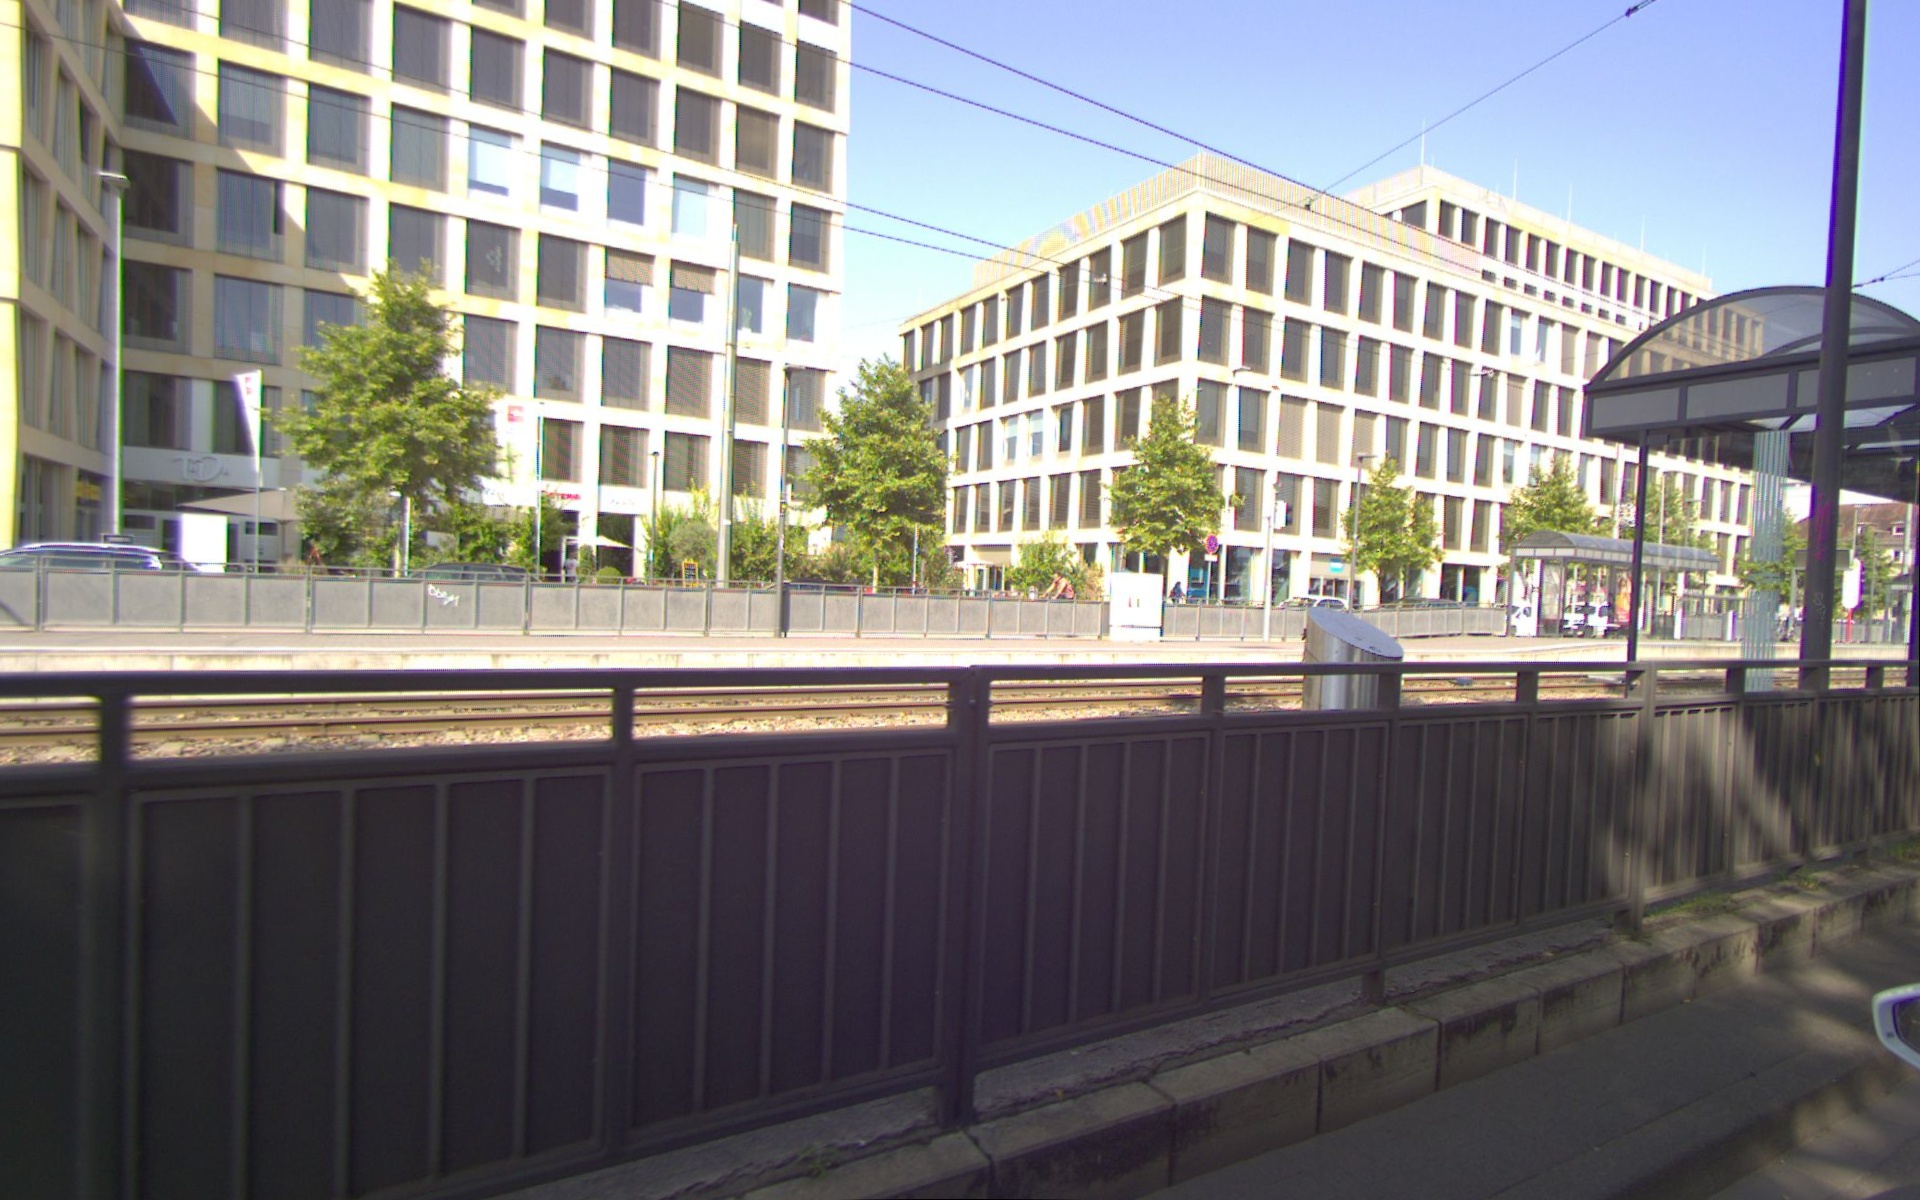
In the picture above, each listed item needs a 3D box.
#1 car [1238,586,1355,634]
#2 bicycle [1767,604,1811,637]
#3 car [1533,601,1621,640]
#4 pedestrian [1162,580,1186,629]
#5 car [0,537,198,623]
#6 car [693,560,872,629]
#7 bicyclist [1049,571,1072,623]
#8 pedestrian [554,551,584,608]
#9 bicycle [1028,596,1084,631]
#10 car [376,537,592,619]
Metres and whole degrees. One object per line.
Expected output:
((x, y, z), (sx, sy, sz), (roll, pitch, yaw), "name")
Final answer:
((12.064, 0.374, 35.901), (4.086, 1.595, 1.754), (2, 0, -32), "car")
((31.079, 0.778, 37.665), (1.459, 1.163, 0.471), (2, 1, -16), "bicycle")
((28.014, 0.949, 45.601), (4.086, 1.624, 1.754), (2, 0, -32), "car")
((9.058, 0.190, 42.508), (0.813, 2.040, 0.560), (3, -2, -31), "pedestrian")
((-16.215, -0.369, 18.366), (3.467, 1.447, 1.544), (2, 1, -33), "car")
((-4.475, -0.114, 25.489), (4.086, 1.555, 1.754), (2, 0, -32), "car")
((2.721, -0.073, 27.211), (0.442, 1.379, 0.385), (1, 1, -30), "bicyclist")
((-14.406, -0.752, 37.021), (0.902, 2.040, 0.724), (1, 1, -29), "pedestrian")
((2.613, 0.364, 27.164), (1.558, 0.891, 0.386), (2, 1, -31), "bicycle")
((-10.357, -0.435, 21.930), (4.086, 1.555, 1.754), (2, 0, -32), "car")
